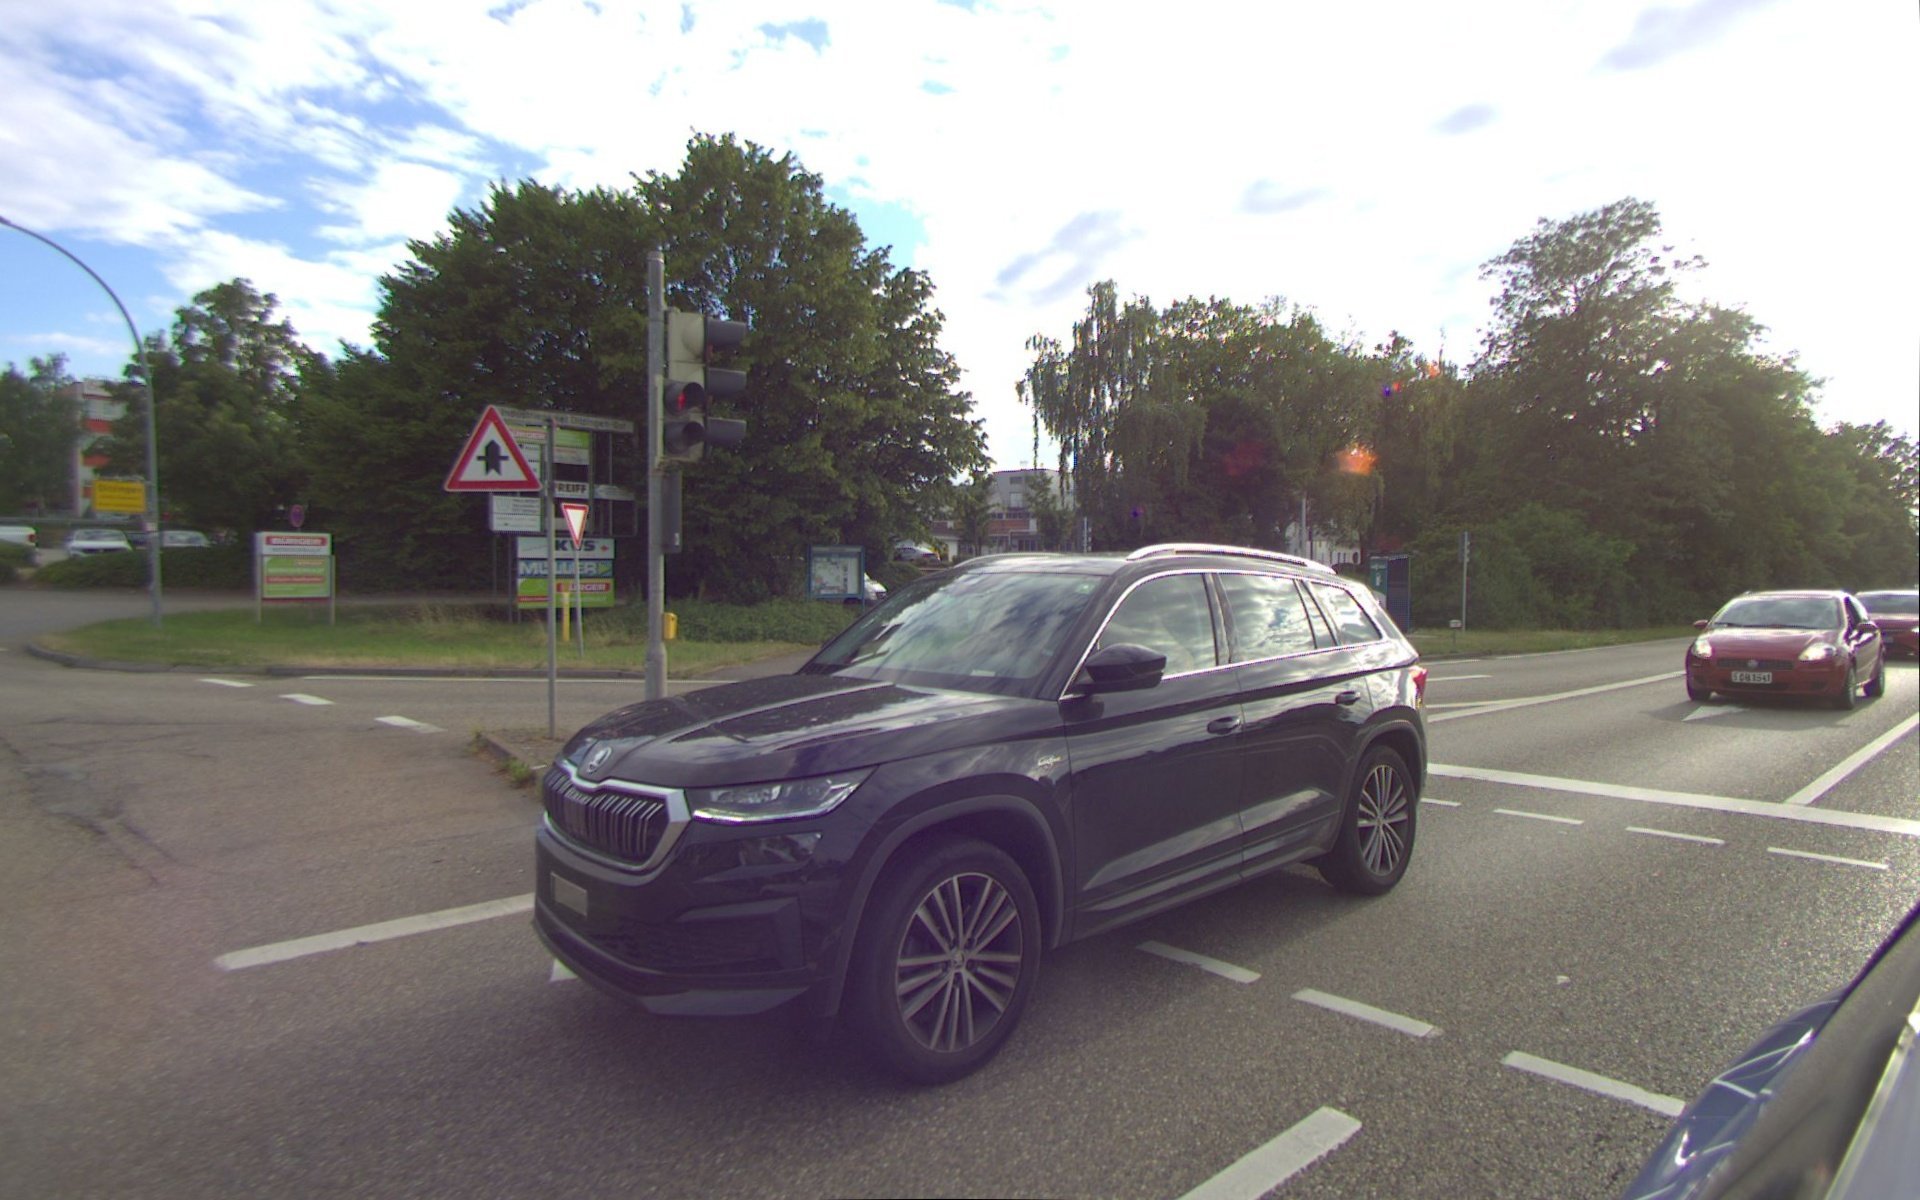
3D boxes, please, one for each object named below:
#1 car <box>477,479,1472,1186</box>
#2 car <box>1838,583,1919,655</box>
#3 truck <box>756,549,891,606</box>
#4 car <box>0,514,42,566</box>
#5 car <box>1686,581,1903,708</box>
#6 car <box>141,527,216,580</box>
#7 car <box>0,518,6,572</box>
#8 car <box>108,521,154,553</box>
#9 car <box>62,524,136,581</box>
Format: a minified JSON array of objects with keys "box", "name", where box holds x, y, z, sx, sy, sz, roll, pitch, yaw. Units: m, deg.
[{"box":[0.437,0.528,4.563,4.404,1.671,1.847,-1,0,-42],"name":"car"},{"box":[20.379,0.350,21.837,3.931,1.433,1.699,-1,1,-42],"name":"car"},{"box":[-4.975,-0.796,37.047,4.601,2.022,1.816,0,0,14],"name":"truck"},{"box":[-39.213,-2.337,38.974,1.993,2.038,5.530,3,4,42],"name":"car"},{"box":[11.222,0.482,13.521,3.926,1.450,1.665,-1,1,-42],"name":"car"},{"box":[-30.222,-1.816,39.082,1.928,1.874,4.299,-1,4,-43],"name":"car"},{"box":[-36.227,-2.068,36.963,1.928,1.906,4.299,-1,4,-43],"name":"car"},{"box":[-51.018,-3.897,62.237,1.928,1.847,4.299,-1,4,-43],"name":"car"},{"box":[-32.015,-1.785,37.579,1.928,1.906,4.299,-1,4,-43],"name":"car"}]
